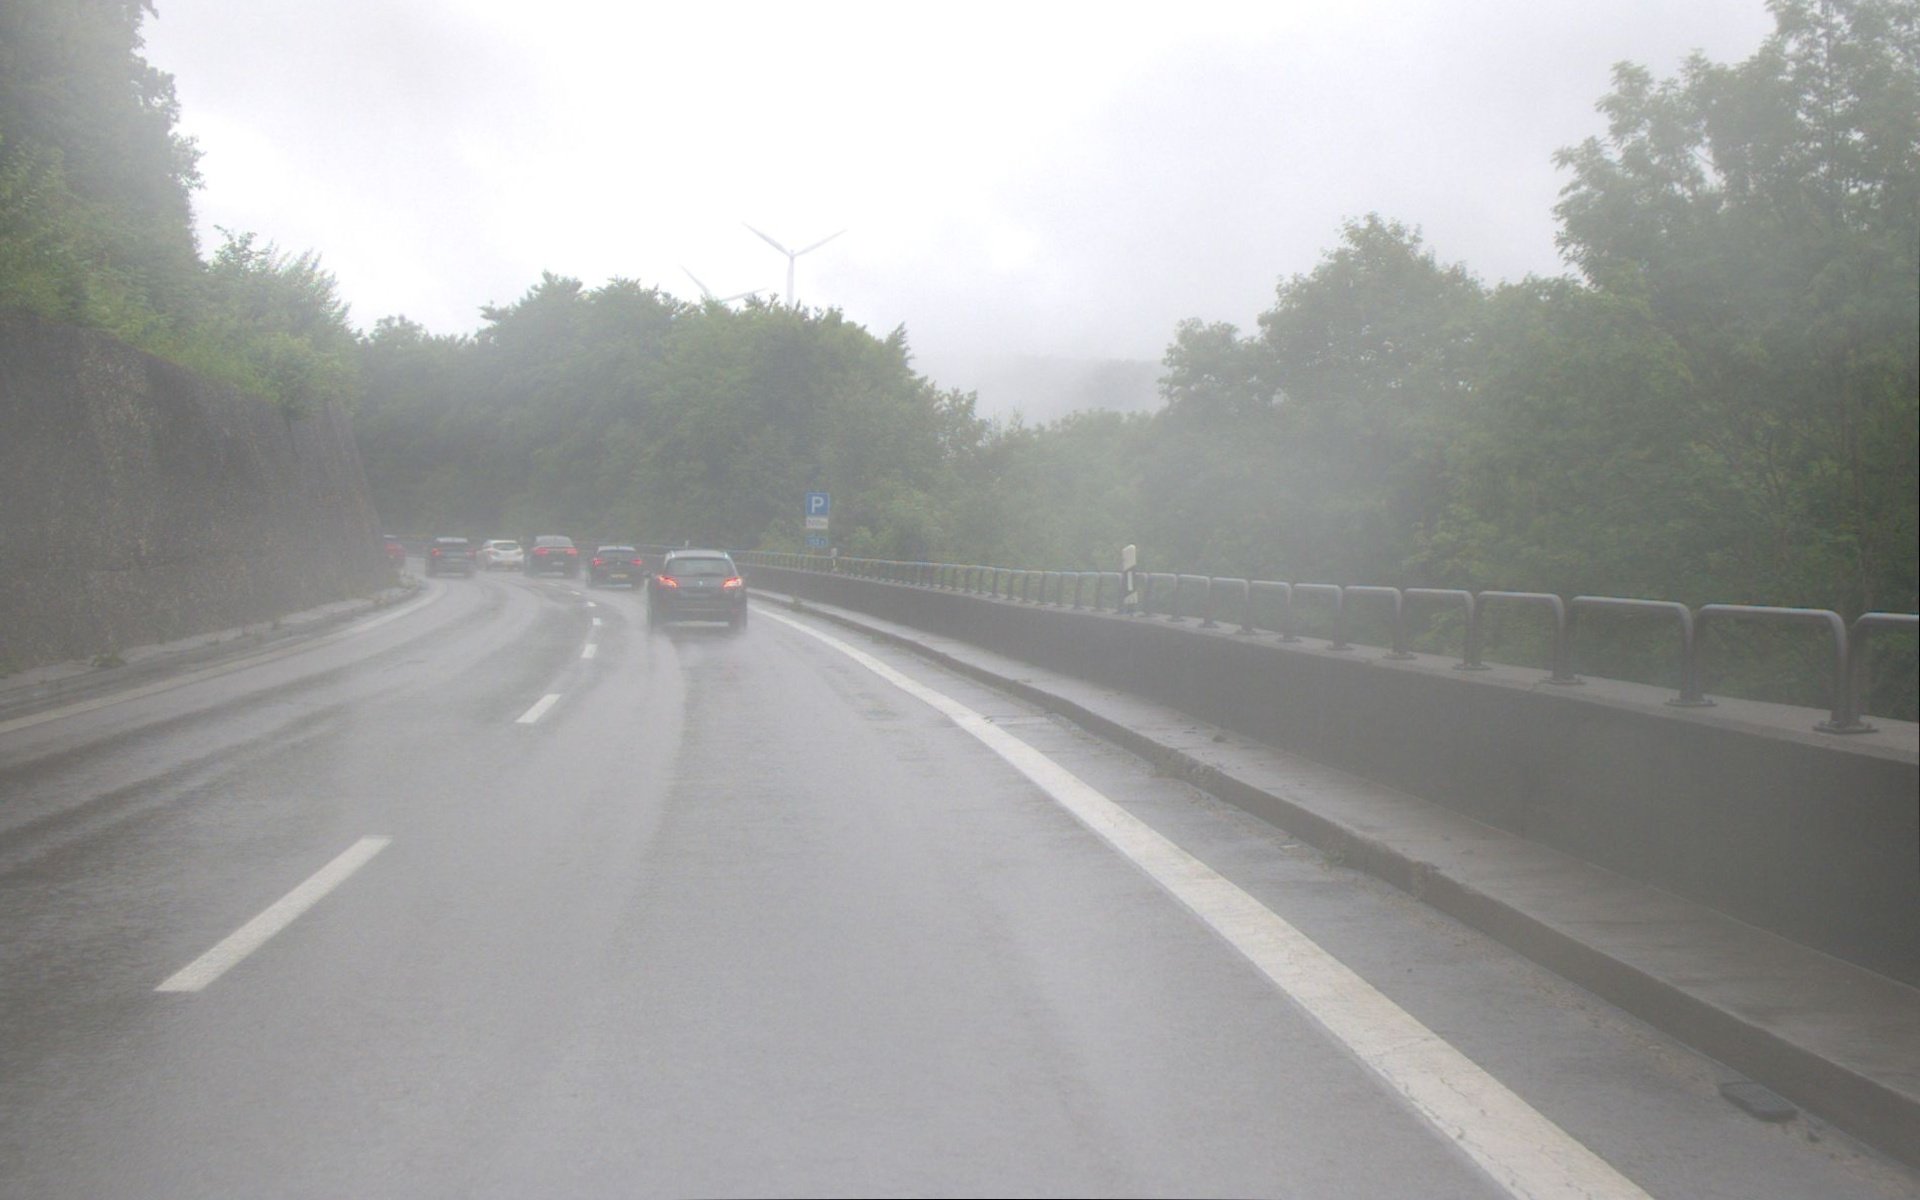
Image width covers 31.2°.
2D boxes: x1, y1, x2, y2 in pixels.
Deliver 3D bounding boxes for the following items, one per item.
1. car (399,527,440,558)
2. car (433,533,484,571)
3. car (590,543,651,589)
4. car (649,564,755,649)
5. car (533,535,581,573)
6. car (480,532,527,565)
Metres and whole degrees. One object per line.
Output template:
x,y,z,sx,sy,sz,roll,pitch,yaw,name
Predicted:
-26.764,-2.855,170.324,1.903,1.494,4.001,1,1,-8,car
-20.529,-1.974,140.745,1.903,1.494,4.001,1,1,-6,car
-11.404,-1.147,115.278,1.903,1.494,4.001,1,1,-7,car
-4.852,0.092,64.384,1.903,1.494,4.001,1,1,-5,car
-16.643,-1.912,142.164,1.903,1.494,4.001,1,1,-6,car
-21.206,-2.398,159.548,1.903,1.494,4.001,1,1,-11,car
